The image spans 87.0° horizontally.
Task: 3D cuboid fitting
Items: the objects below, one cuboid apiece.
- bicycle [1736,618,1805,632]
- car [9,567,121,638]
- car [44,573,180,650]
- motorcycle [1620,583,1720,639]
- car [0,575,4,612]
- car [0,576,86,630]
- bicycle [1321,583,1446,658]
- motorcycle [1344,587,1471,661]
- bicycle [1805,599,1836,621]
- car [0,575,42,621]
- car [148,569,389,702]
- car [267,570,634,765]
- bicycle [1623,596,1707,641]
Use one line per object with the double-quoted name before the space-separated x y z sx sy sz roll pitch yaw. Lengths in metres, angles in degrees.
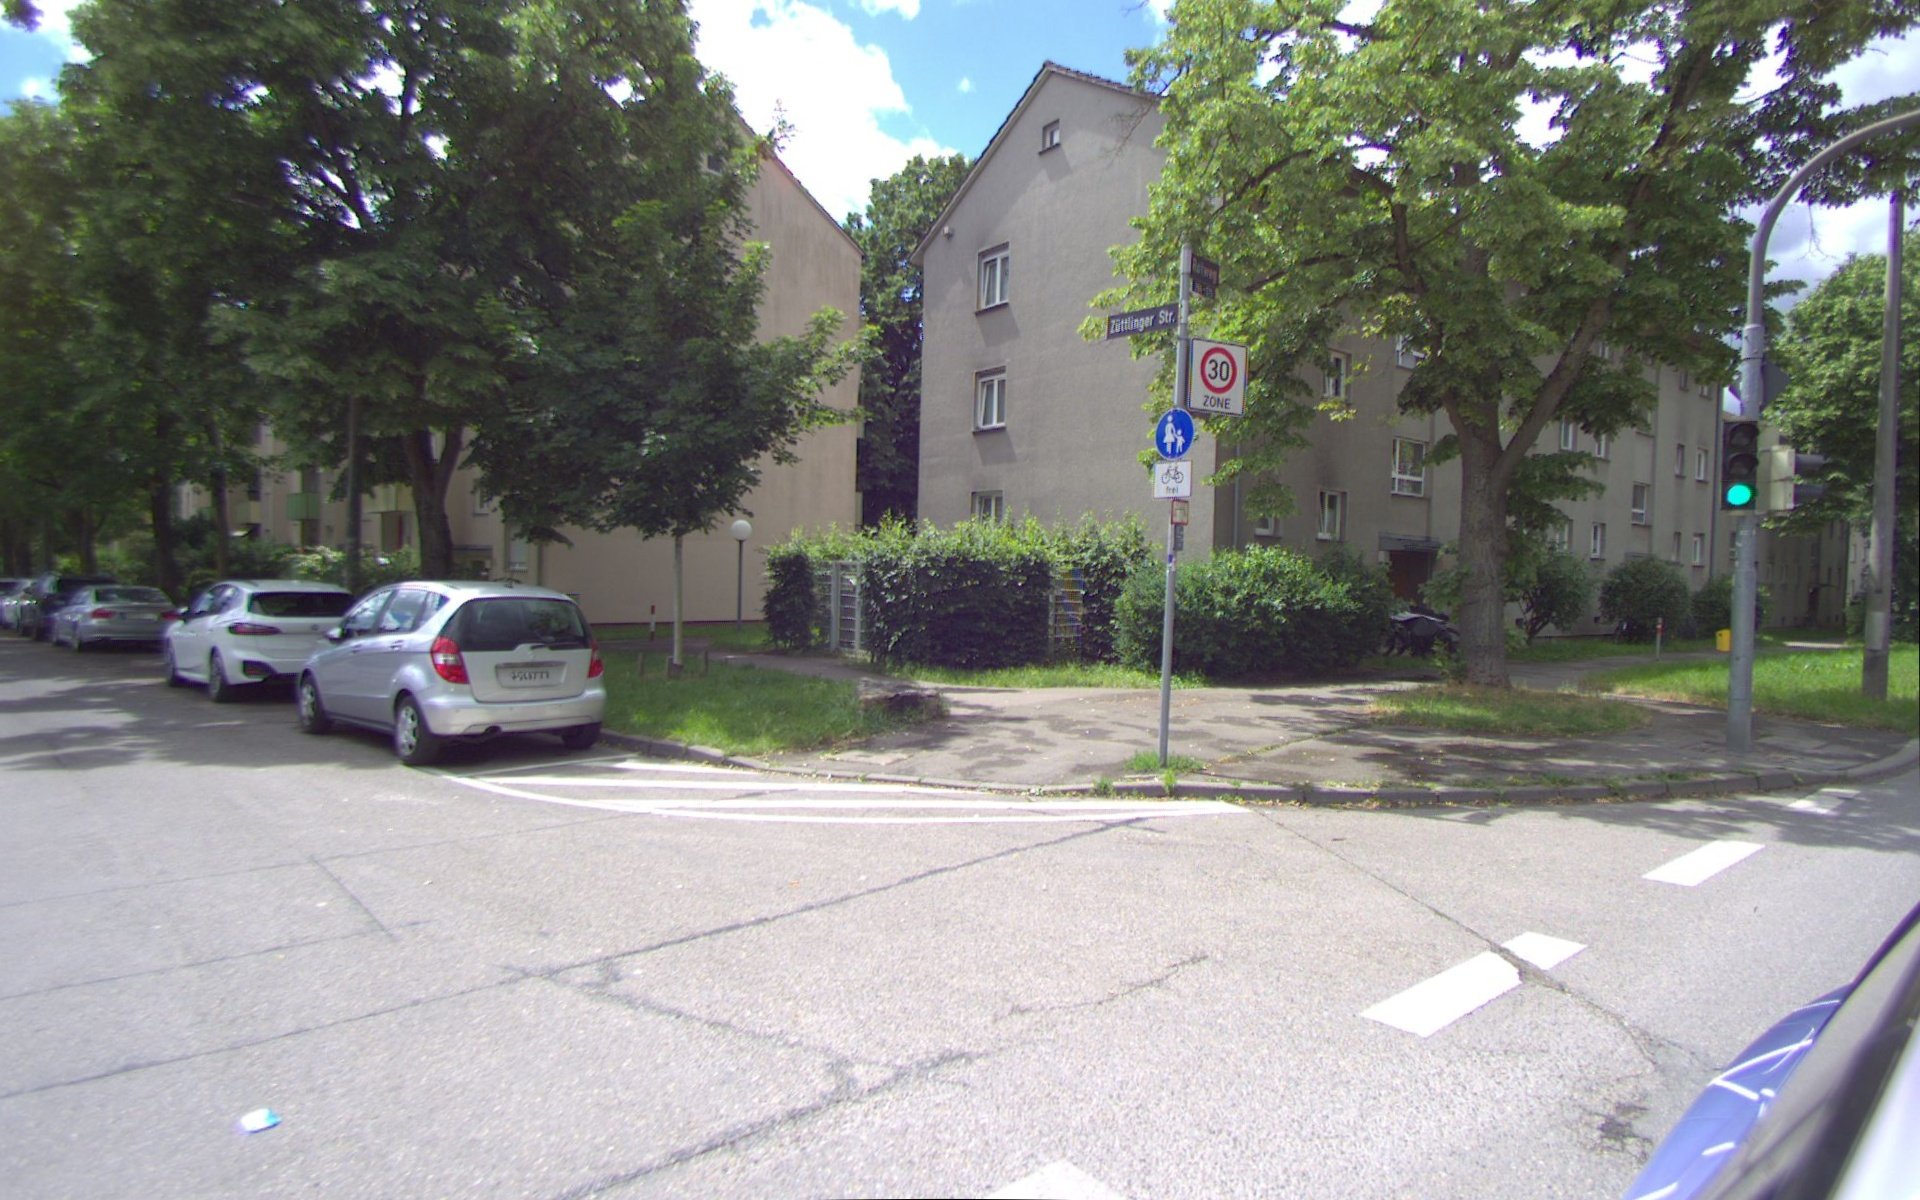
"bicycle" 34.579 1.070 43.195 0.660 0.514 2.213 0 1 -31
"car" -22.658 0.010 25.585 3.941 1.640 1.574 2 1 40
"car" -18.736 0.196 22.307 3.941 1.525 1.666 2 1 40
"motorcycle" 19.792 0.293 28.244 0.997 1.447 2.006 1 1 -32
"car" -38.960 -0.283 39.767 3.941 1.428 1.574 2 1 40
"car" -26.503 0.036 29.021 3.941 1.428 1.574 2 1 40
"bicycle" 8.010 0.344 19.262 0.667 1.298 2.175 0 2 -34
"motorcycle" 8.617 0.429 19.606 0.667 1.298 2.213 0 2 -34
"bicycle" 44.475 0.490 52.339 0.430 1.094 1.748 0 1 12
"car" -31.573 -0.106 33.258 3.941 1.428 1.574 2 1 40
"car" -9.732 0.398 14.134 3.999 1.583 1.756 2 0 40
"car" -5.244 0.512 10.221 3.982 1.573 1.911 1 1 40
"bicycle" 19.141 0.489 27.520 0.446 1.098 1.803 1 2 -37
